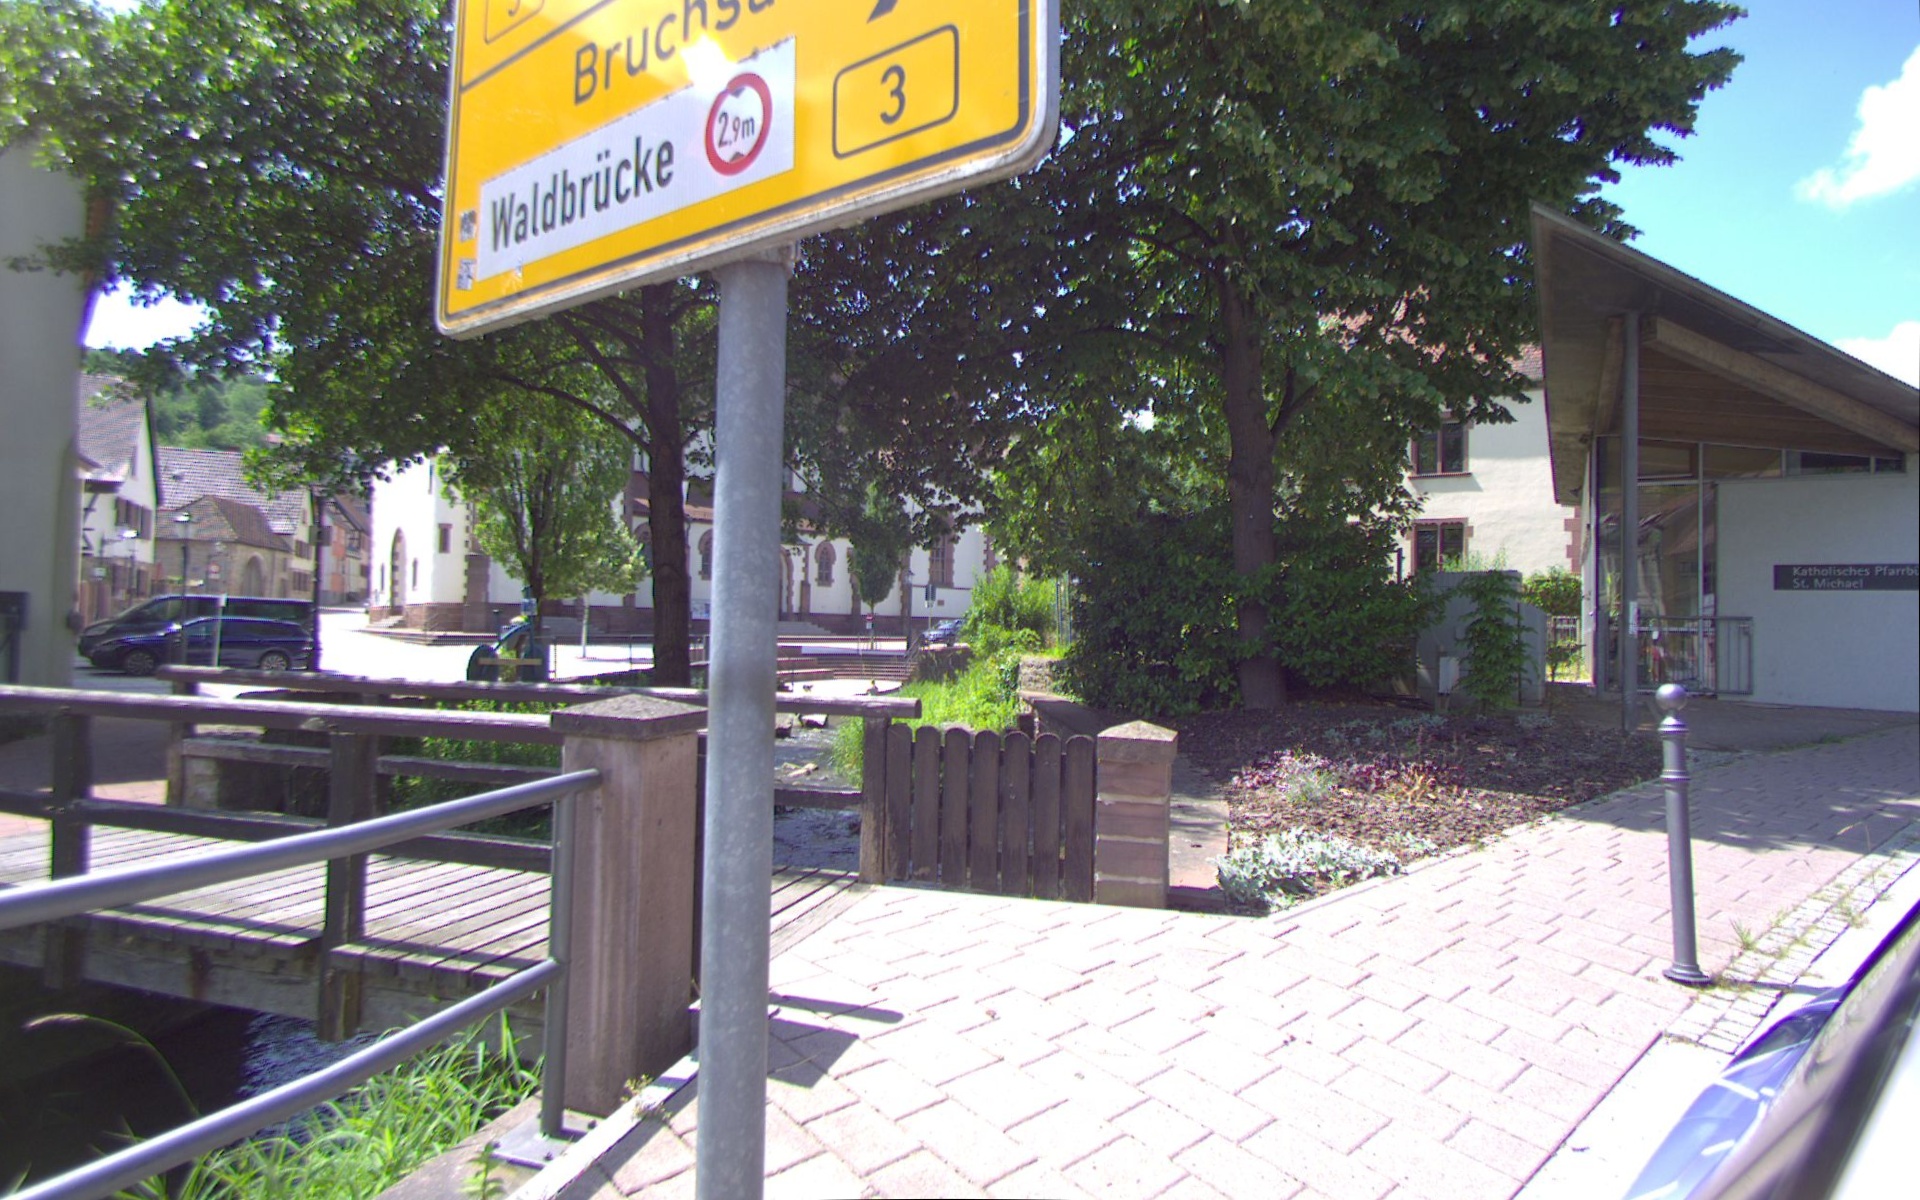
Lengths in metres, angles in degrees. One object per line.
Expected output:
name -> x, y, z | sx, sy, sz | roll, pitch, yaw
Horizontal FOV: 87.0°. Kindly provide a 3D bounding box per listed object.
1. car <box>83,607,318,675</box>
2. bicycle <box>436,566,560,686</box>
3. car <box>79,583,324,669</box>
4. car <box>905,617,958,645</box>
car -> -18.765, 1.049, 25.151 | 4.463, 1.501, 1.586 | 5, -2, -43
bicycle -> -8.519, 0.474, 18.825 | 0.770, 2.040, 2.660 | -3, -2, 7
car -> -20.435, 0.745, 27.421 | 5.036, 2.053, 1.955 | 5, -2, -43
car -> -1.575, 1.739, 57.280 | 1.651, 1.524, 3.781 | -1, -1, 23
